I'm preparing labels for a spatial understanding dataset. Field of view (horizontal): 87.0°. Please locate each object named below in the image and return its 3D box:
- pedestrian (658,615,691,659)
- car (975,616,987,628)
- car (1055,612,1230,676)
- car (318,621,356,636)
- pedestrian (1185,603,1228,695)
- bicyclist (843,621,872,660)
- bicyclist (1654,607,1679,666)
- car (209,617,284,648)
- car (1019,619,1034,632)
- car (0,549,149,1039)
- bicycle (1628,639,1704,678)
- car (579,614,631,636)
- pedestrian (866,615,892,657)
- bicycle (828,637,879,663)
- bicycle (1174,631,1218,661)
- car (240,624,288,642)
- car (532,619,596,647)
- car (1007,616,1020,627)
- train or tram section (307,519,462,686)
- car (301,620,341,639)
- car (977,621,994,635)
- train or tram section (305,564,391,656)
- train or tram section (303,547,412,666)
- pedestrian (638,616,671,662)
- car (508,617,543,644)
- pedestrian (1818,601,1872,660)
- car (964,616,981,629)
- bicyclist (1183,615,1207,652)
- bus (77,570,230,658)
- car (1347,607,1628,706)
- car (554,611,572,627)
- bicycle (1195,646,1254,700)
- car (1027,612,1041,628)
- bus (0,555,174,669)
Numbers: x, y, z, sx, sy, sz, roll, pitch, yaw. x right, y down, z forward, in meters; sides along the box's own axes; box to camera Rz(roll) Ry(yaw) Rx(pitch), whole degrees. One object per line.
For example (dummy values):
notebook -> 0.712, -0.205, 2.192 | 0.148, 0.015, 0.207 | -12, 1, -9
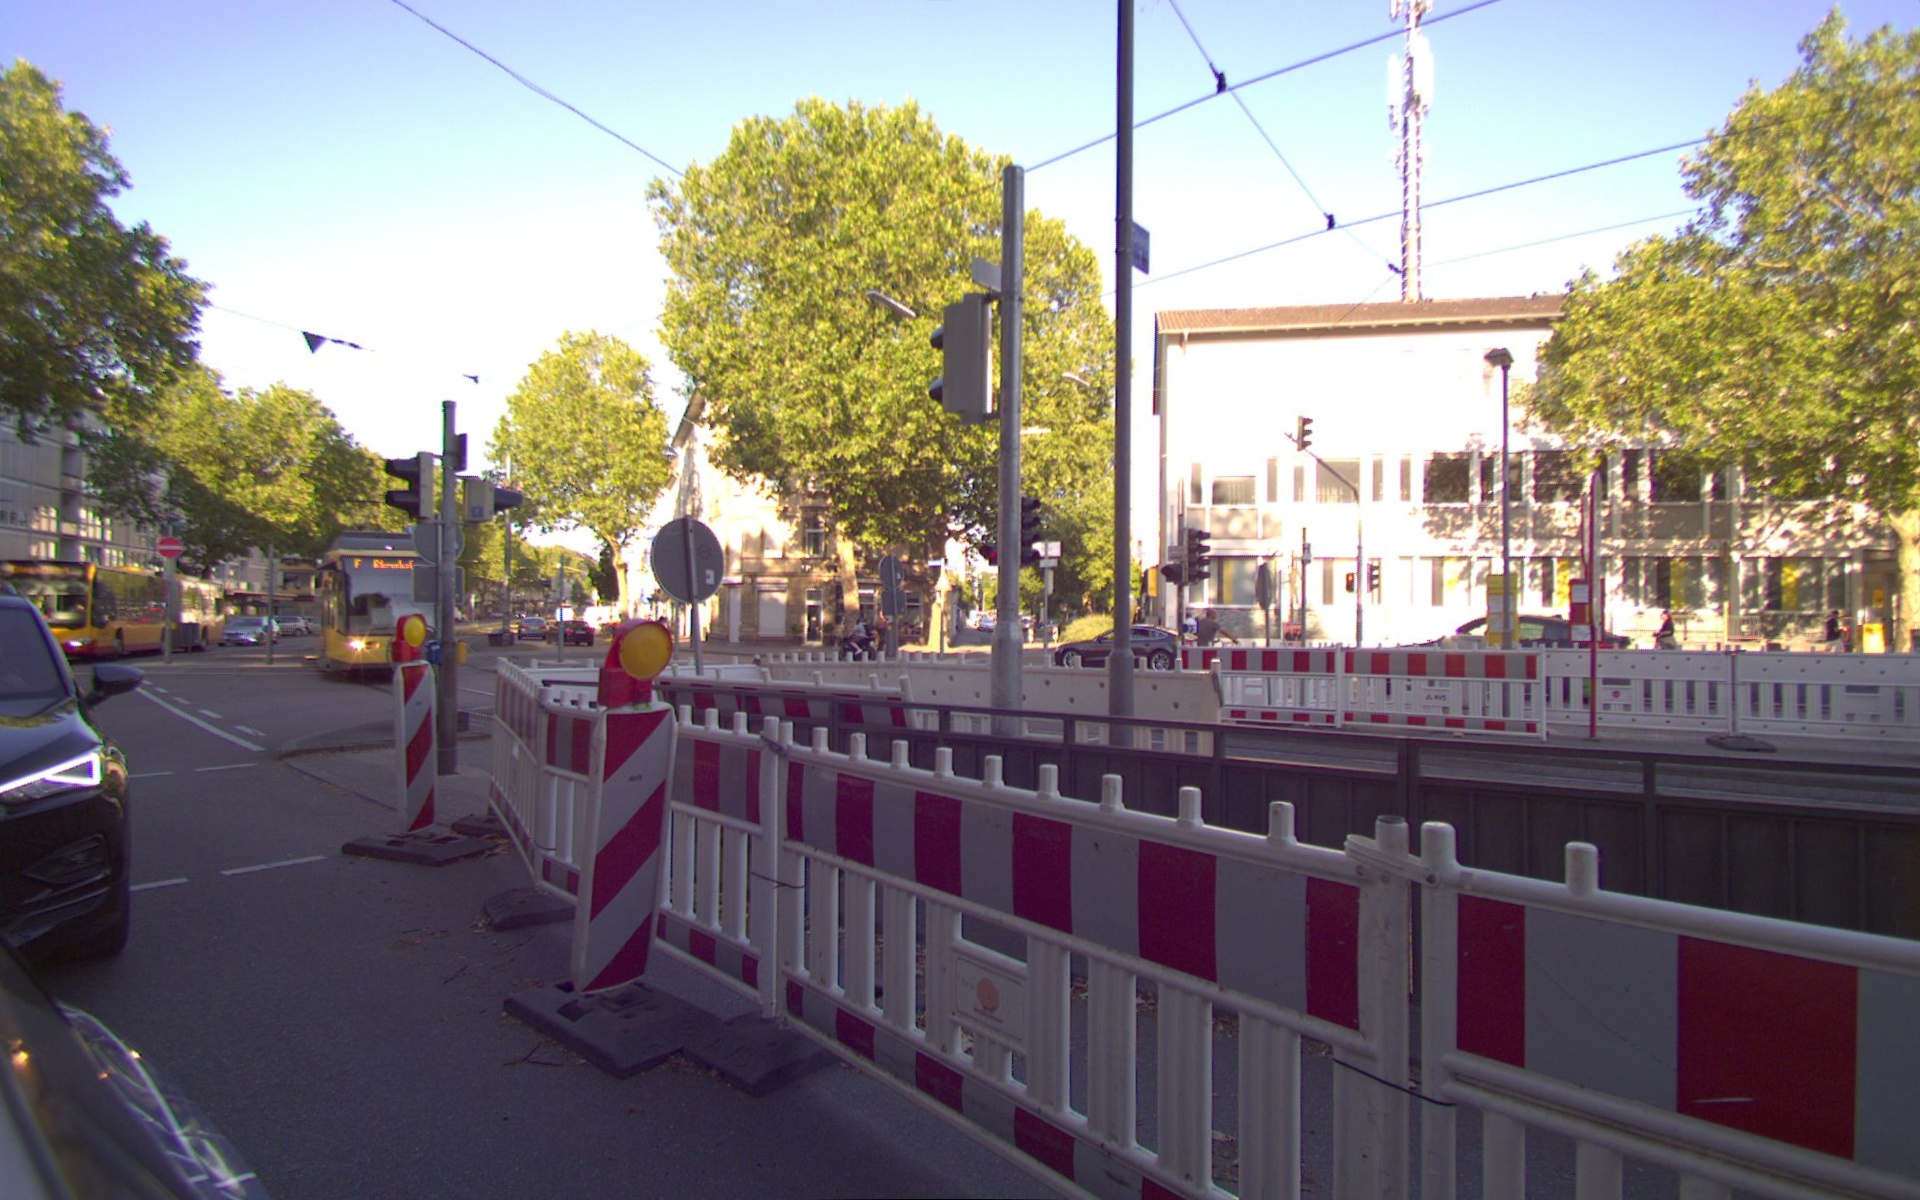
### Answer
pedestrian -> -9.852, 1.267, 34.966 | 0.795, 1.520, 0.793 | 0, -1, 17
car -> 3.551, 3.716, 171.390 | 1.828, 2.031, 3.994 | 0, -1, 4
car -> 5.206, 1.219, 29.117 | 4.576, 1.679, 1.878 | -1, 0, 35
car -> -54.913, 2.491, 89.181 | 1.201, 1.290, 2.592 | 0, -1, 43
pedestrian -> 4.850, 0.960, 19.932 | 0.588, 1.772, 0.597 | 1, -2, -43
bicyclist -> -3.487, 1.382, 34.442 | 0.803, 1.304, 0.555 | -1, -2, 34
bicyclist -> 17.042, 0.879, 24.414 | 0.463, 1.407, 0.457 | -1, -2, 36
car -> -36.525, 1.654, 51.933 | 1.880, 1.486, 4.431 | 1, -1, -17
car -> 7.907, 3.047, 120.637 | 1.705, 1.505, 3.994 | 0, -1, 4
car -> -5.164, 0.693, 4.598 | 4.301, 1.670, 1.823 | -1, -1, 45
bicycle -> 17.021, 1.398, 24.418 | 1.463, 0.902, 0.457 | -1, -2, 37
car -> -34.003, 2.400, 96.977 | 1.895, 1.991, 4.604 | -1, -2, 29
pedestrian -> -3.500, 1.548, 43.655 | 0.801, 1.769, 0.787 | -1, -2, 41
bicycle -> -3.643, 1.700, 34.536 | 1.796, 0.869, 0.555 | -1, -2, 34
bicycle -> 7.770, 1.506, 33.379 | 0.405, 0.974, 1.464 | 1, -2, -42
car -> -50.889, 2.410, 74.035 | 1.198, 1.226, 2.599 | 0, -1, 34
car -> -22.131, 1.853, 56.459 | 1.969, 1.459, 4.545 | 2, -3, -40
car -> 7.148, 2.840, 134.825 | 1.705, 1.505, 3.994 | 0, -1, 4
train or tram section -> -15.242, 0.139, 26.331 | 2.778, 3.514, 10.366 | 1, -1, -34
car -> -52.348, 2.421, 82.927 | 1.201, 1.484, 2.592 | 0, -1, 43
car -> 2.904, 3.195, 115.136 | 1.705, 1.505, 3.994 | 0, -1, 4
train or tram section -> -26.501, 0.469, 43.711 | 2.831, 3.514, 10.368 | 1, -1, -32
train or tram section -> -20.976, 0.281, 34.961 | 2.796, 3.514, 10.367 | 1, -1, -33
pedestrian -> -10.330, 1.316, 34.267 | 0.794, 1.520, 0.794 | 0, -1, 12
car -> -28.720, 2.028, 66.961 | 1.920, 1.667, 4.705 | 1, -2, -21
pedestrian -> 26.414, 0.897, 30.214 | 0.876, 1.742, 0.805 | 0, -1, 11
car -> 1.501, 2.706, 120.467 | 1.705, 1.505, 3.994 | 0, -1, 4
bicyclist -> 7.765, 1.100, 33.391 | 0.405, 1.182, 0.663 | 1, -2, -42
bus -> -32.099, 0.605, 40.743 | 2.707, 3.127, 9.528 | 1, -1, -26
car -> 10.026, 0.995, 19.366 | 4.576, 1.679, 1.878 | -1, 0, 35
car -> -53.283, 2.559, 136.018 | 2.131, 2.138, 4.994 | 2, -2, -20
bicycle -> 5.107, 1.384, 19.487 | 1.558, 0.973, 0.322 | 1, -2, -44
car -> 9.950, 2.720, 135.717 | 1.828, 2.160, 3.994 | 0, -1, 4
bus -> -27.866, 0.419, 32.194 | 2.707, 3.127, 9.527 | 1, -1, -27
